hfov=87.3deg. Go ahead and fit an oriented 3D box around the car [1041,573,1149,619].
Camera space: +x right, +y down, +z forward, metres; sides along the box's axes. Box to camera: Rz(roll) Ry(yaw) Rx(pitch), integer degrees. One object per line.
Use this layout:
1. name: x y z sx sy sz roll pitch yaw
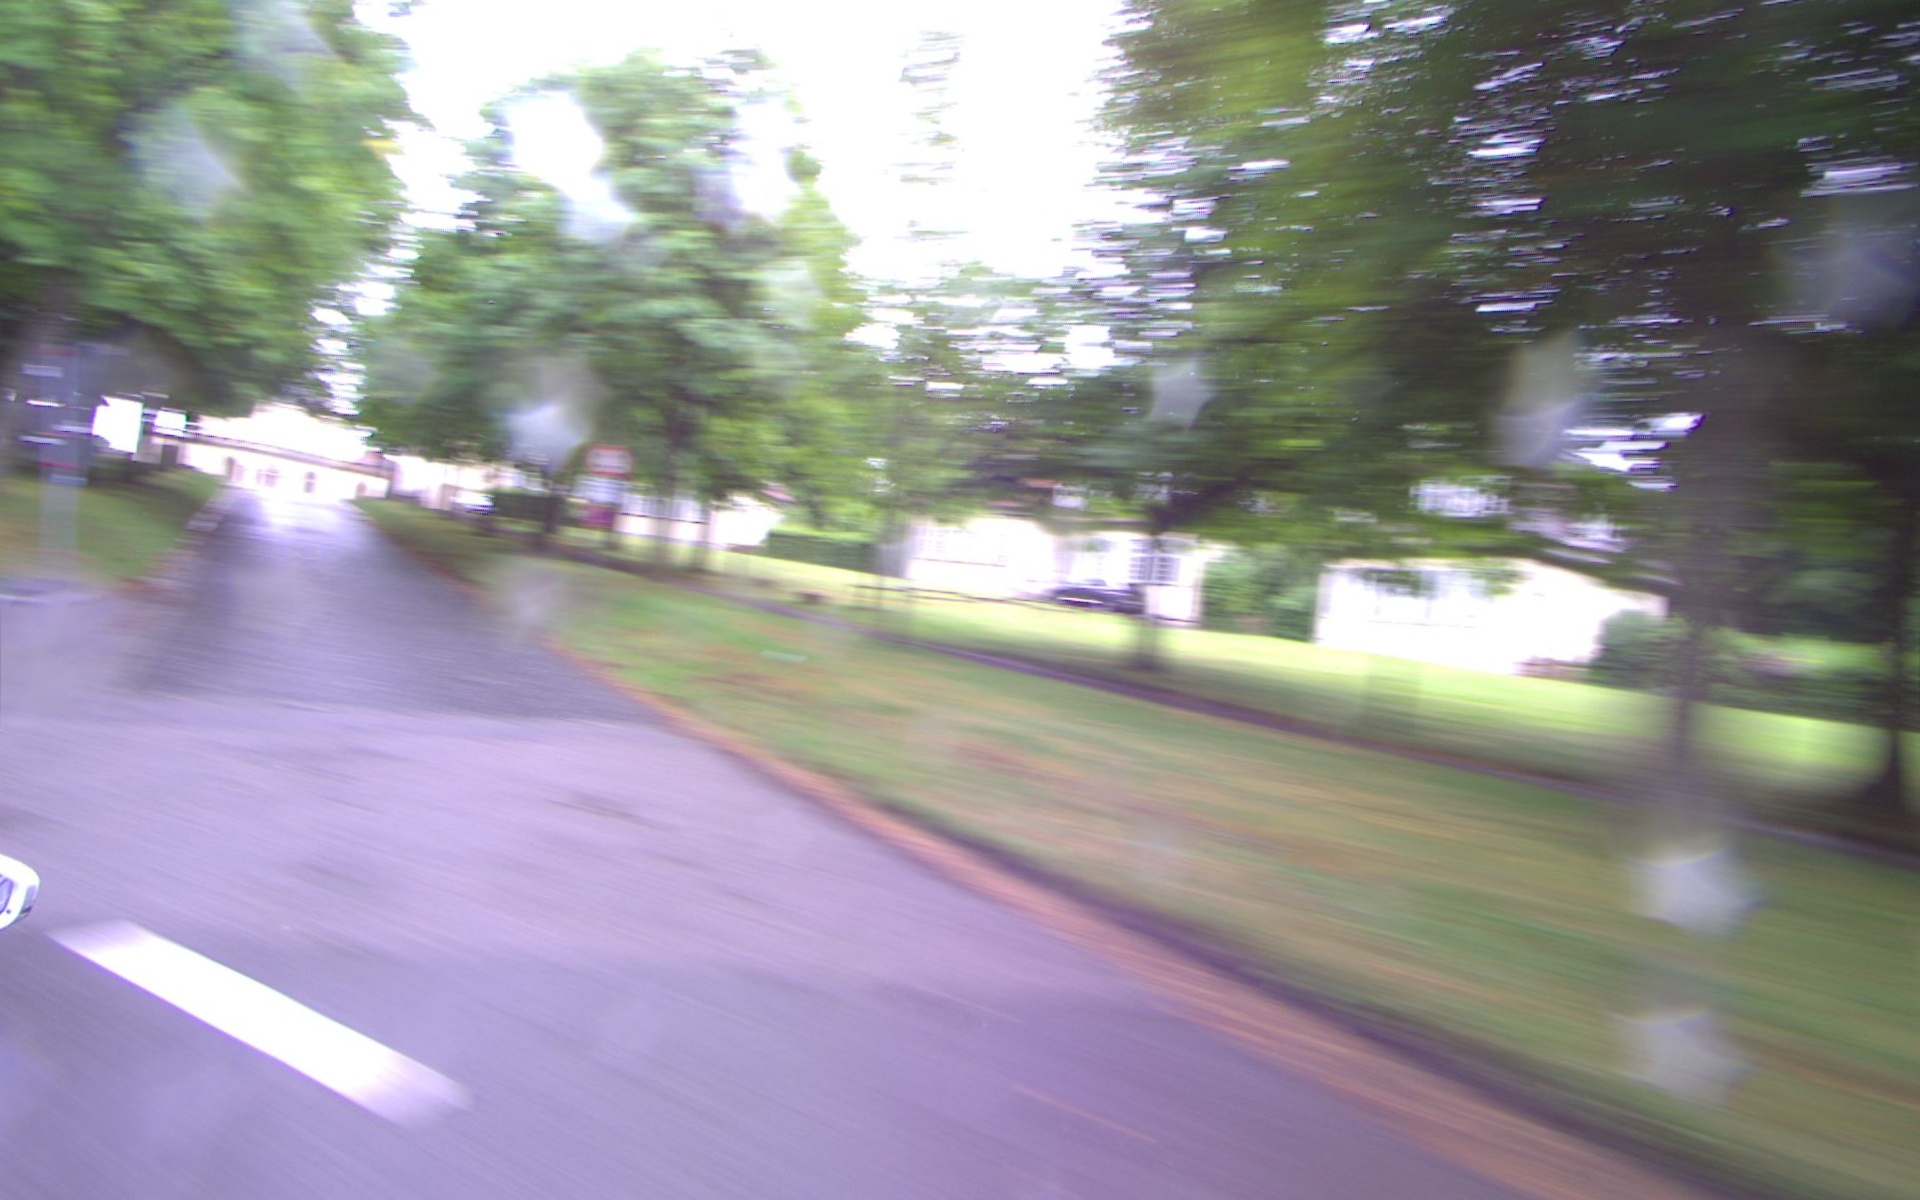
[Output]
1. car: 5.958 -0.199 44.832 1.985 1.528 4.452 3 3 -43
